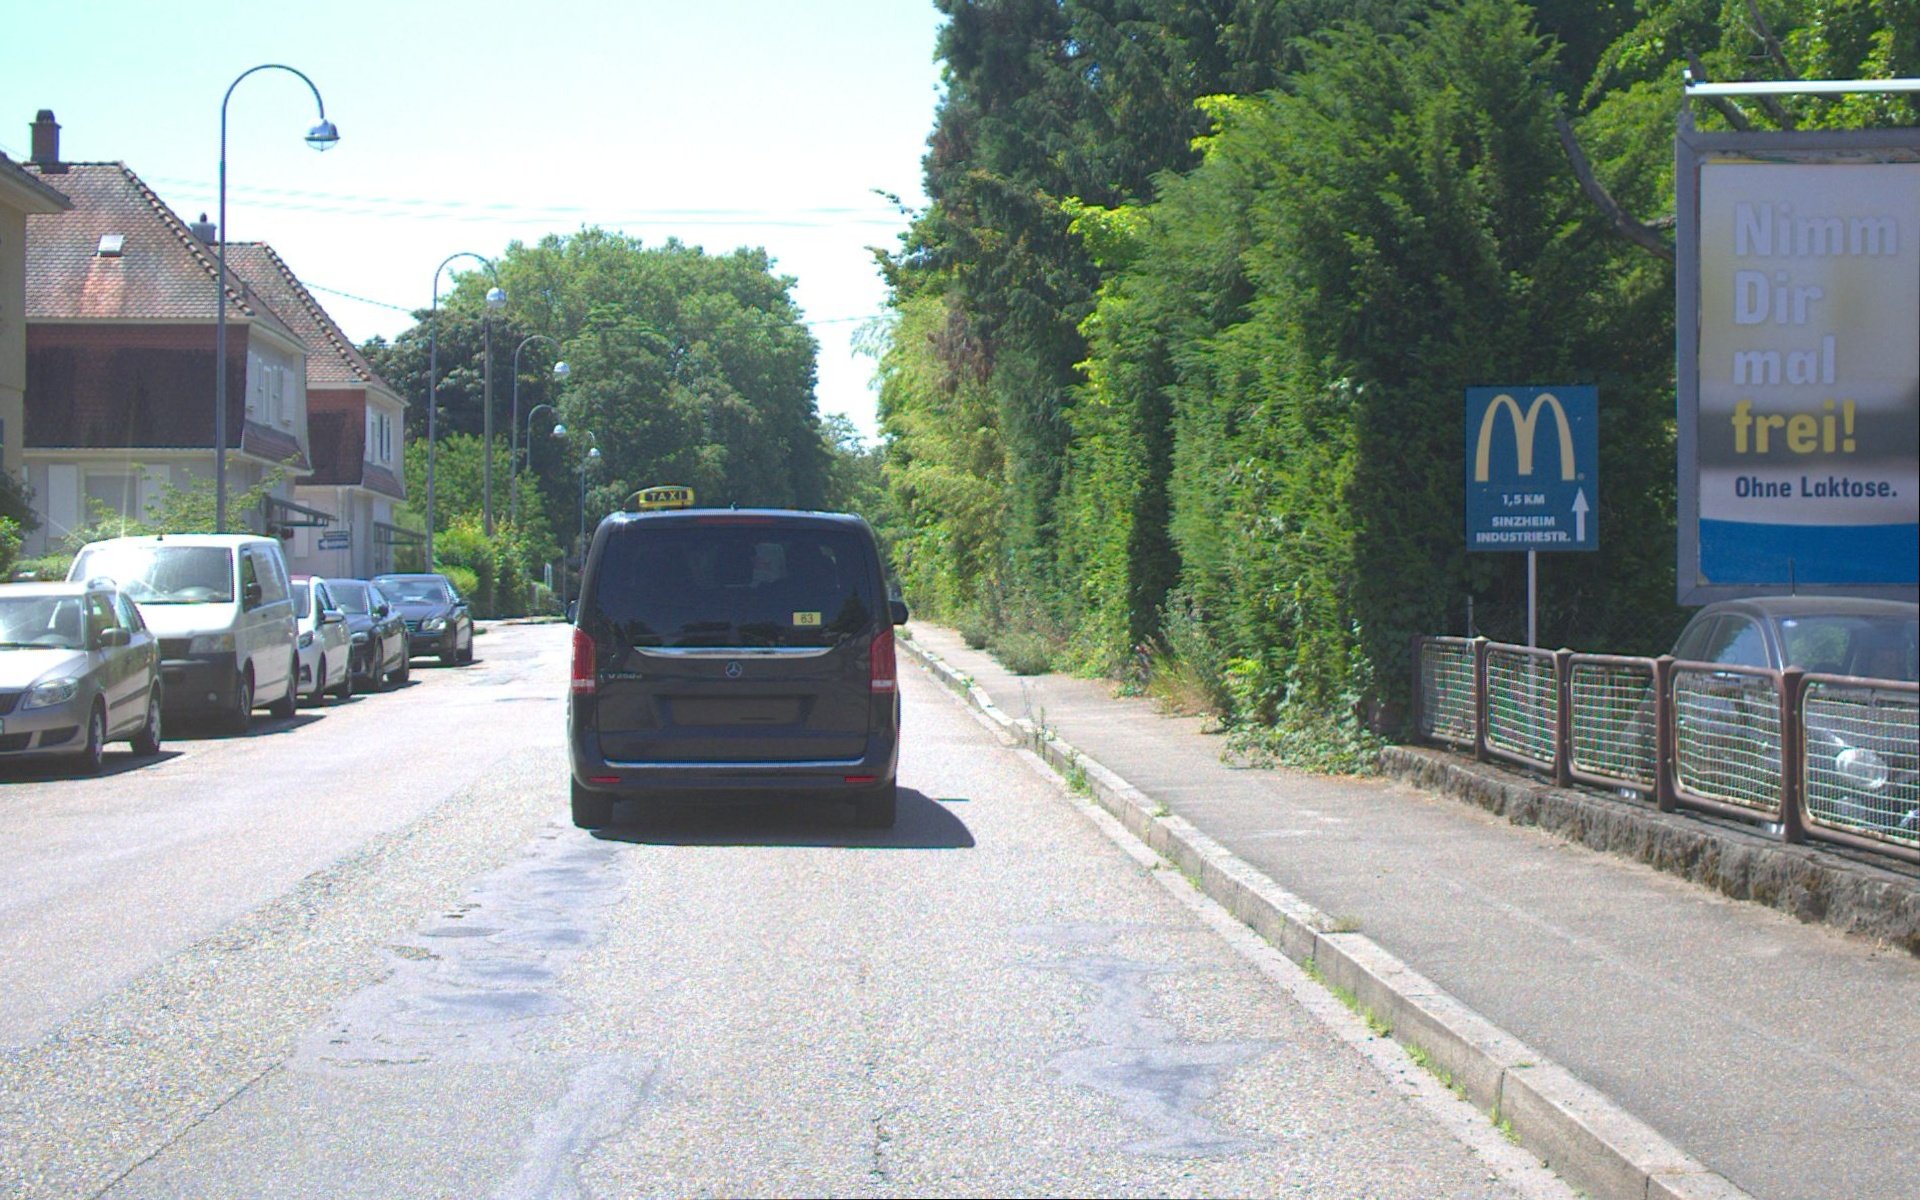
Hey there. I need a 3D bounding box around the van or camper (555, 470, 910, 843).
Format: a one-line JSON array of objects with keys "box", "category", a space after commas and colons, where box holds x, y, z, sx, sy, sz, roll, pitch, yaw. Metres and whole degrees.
[{"box": [-1.346, 0.295, 21.341, 1.902, 2.007, 5.270, 1, 0, -2], "category": "van or camper"}]

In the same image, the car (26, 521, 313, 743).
[{"box": [-7.686, 0.260, 33.865, 1.878, 1.956, 4.626, -2, 1, -3], "category": "car"}]

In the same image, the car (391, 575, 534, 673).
[{"box": [-7.687, 0.343, 53.418, 1.666, 1.381, 4.380, -2, 1, -2], "category": "car"}]

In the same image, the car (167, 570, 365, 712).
[{"box": [-7.917, 0.438, 39.483, 1.666, 1.487, 3.478, -2, 1, -3], "category": "car"}]

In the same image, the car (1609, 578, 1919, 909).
[{"box": [4.557, 0.668, 17.184, 1.631, 1.454, 3.557, 4, 0, -4], "category": "car"}]

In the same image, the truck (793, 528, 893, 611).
[{"box": [-3.320, -0.850, 96.449, 2.355, 2.251, 6.093, 0, 0, -6], "category": "truck"}]

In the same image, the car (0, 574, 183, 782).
[{"box": [-7.486, 0.568, 27.591, 1.686, 1.520, 4.063, 0, 1, -2], "category": "car"}]

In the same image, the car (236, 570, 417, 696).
[{"box": [-7.995, 0.378, 43.691, 1.666, 1.487, 4.466, 0, 1, -3], "category": "car"}]
